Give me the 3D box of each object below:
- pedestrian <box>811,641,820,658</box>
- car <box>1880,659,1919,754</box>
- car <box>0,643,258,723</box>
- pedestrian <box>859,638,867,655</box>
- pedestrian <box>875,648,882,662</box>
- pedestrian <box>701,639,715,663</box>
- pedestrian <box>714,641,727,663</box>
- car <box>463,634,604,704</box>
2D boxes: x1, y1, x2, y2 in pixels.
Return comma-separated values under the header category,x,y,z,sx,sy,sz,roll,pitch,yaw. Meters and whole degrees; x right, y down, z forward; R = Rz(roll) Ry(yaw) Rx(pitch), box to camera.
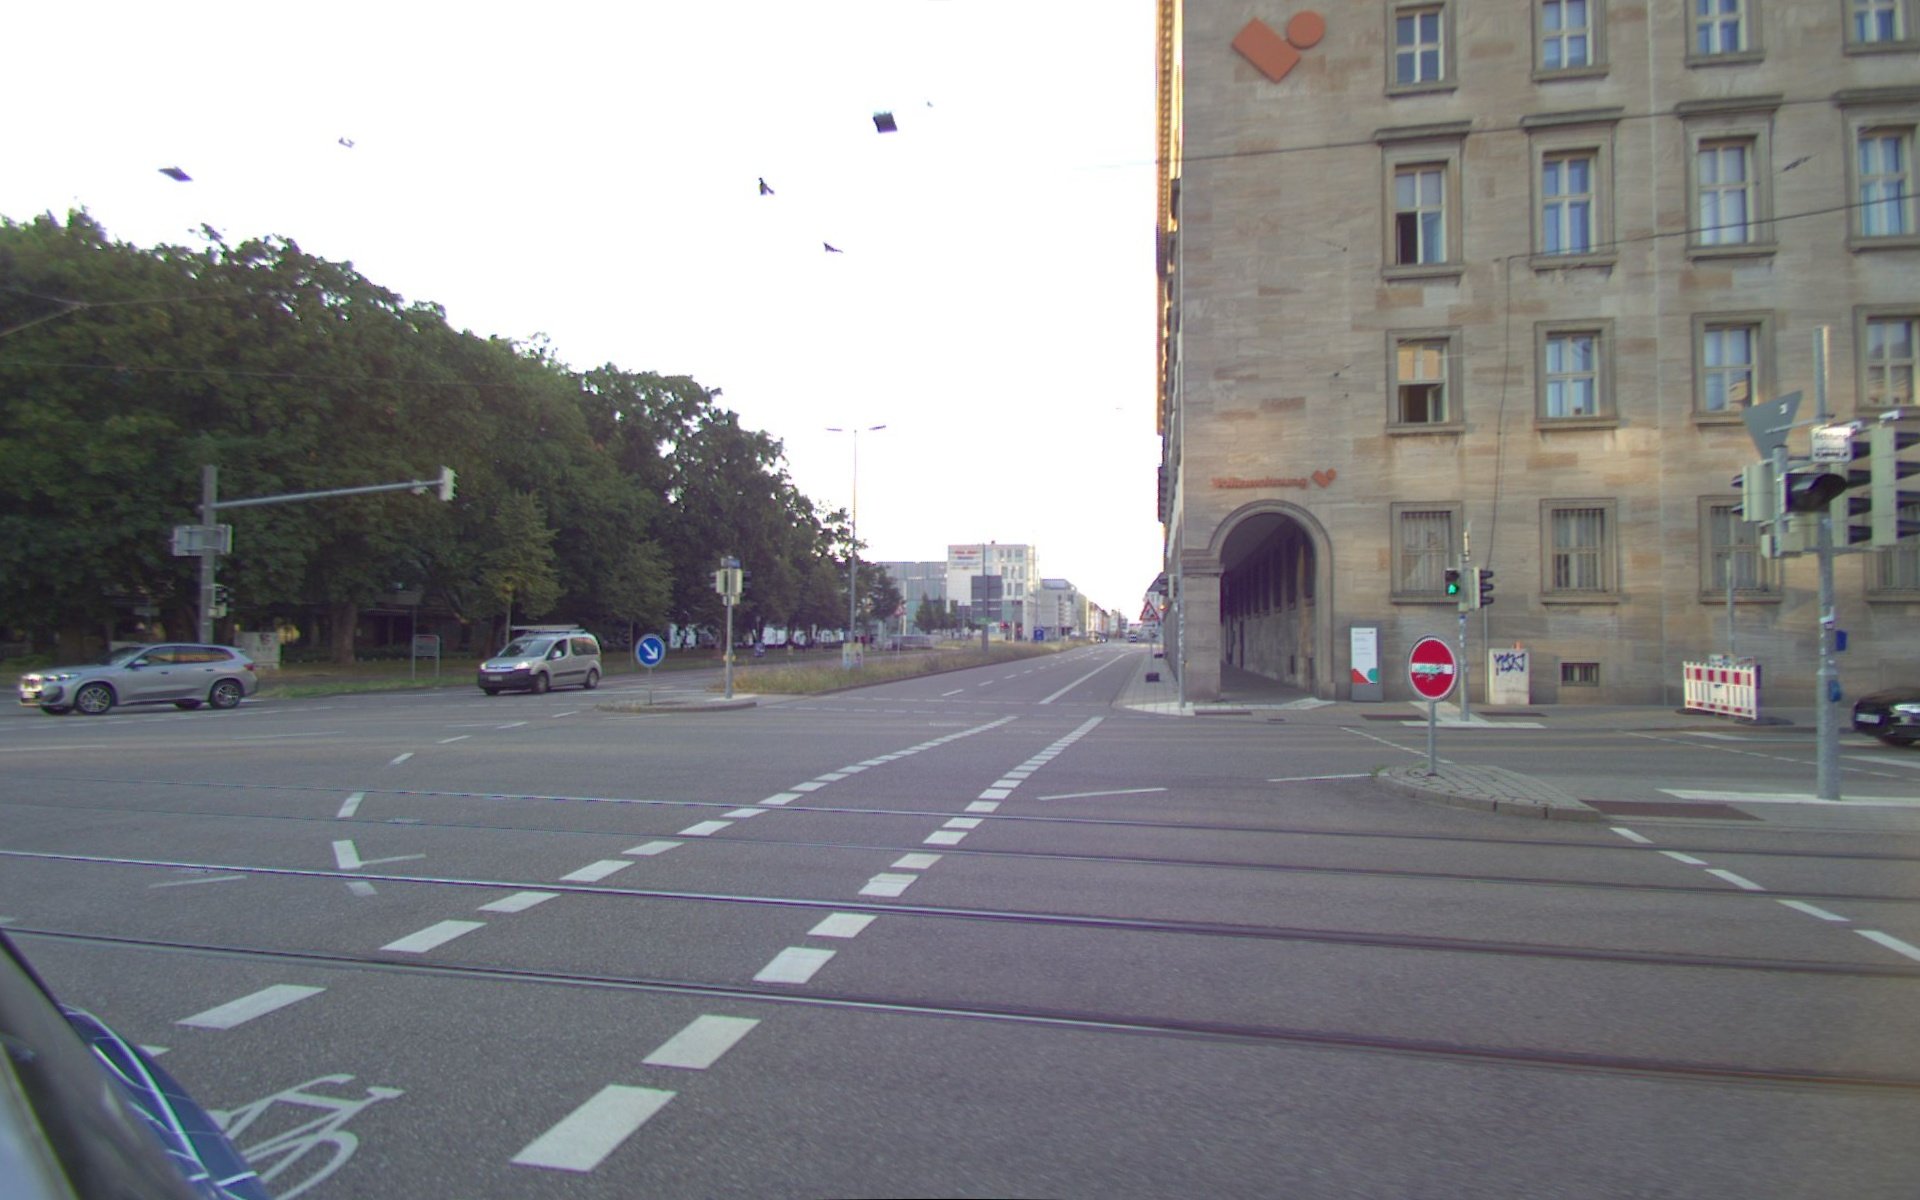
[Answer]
category,x,y,z,sx,sy,sz,roll,pitch,yaw
pedestrian,-12.540,4.287,87.775,0.626,1.474,0.643,-1,-2,13
car,16.735,1.616,15.062,4.187,1.438,1.642,-1,-2,11
car,-19.203,1.849,23.609,1.875,1.676,4.311,-1,-3,23
pedestrian,-9.813,4.662,102.258,0.623,1.678,0.646,3,-3,-2
pedestrian,-8.188,5.518,101.618,0.623,1.406,0.646,1,-3,-2
pedestrian,-17.172,3.493,68.986,0.640,1.607,0.674,-1,-2,14
pedestrian,-16.288,3.549,68.855,0.671,1.508,0.643,-1,-2,13
car,-12.598,1.985,30.228,1.785,1.926,4.451,0,-2,9
